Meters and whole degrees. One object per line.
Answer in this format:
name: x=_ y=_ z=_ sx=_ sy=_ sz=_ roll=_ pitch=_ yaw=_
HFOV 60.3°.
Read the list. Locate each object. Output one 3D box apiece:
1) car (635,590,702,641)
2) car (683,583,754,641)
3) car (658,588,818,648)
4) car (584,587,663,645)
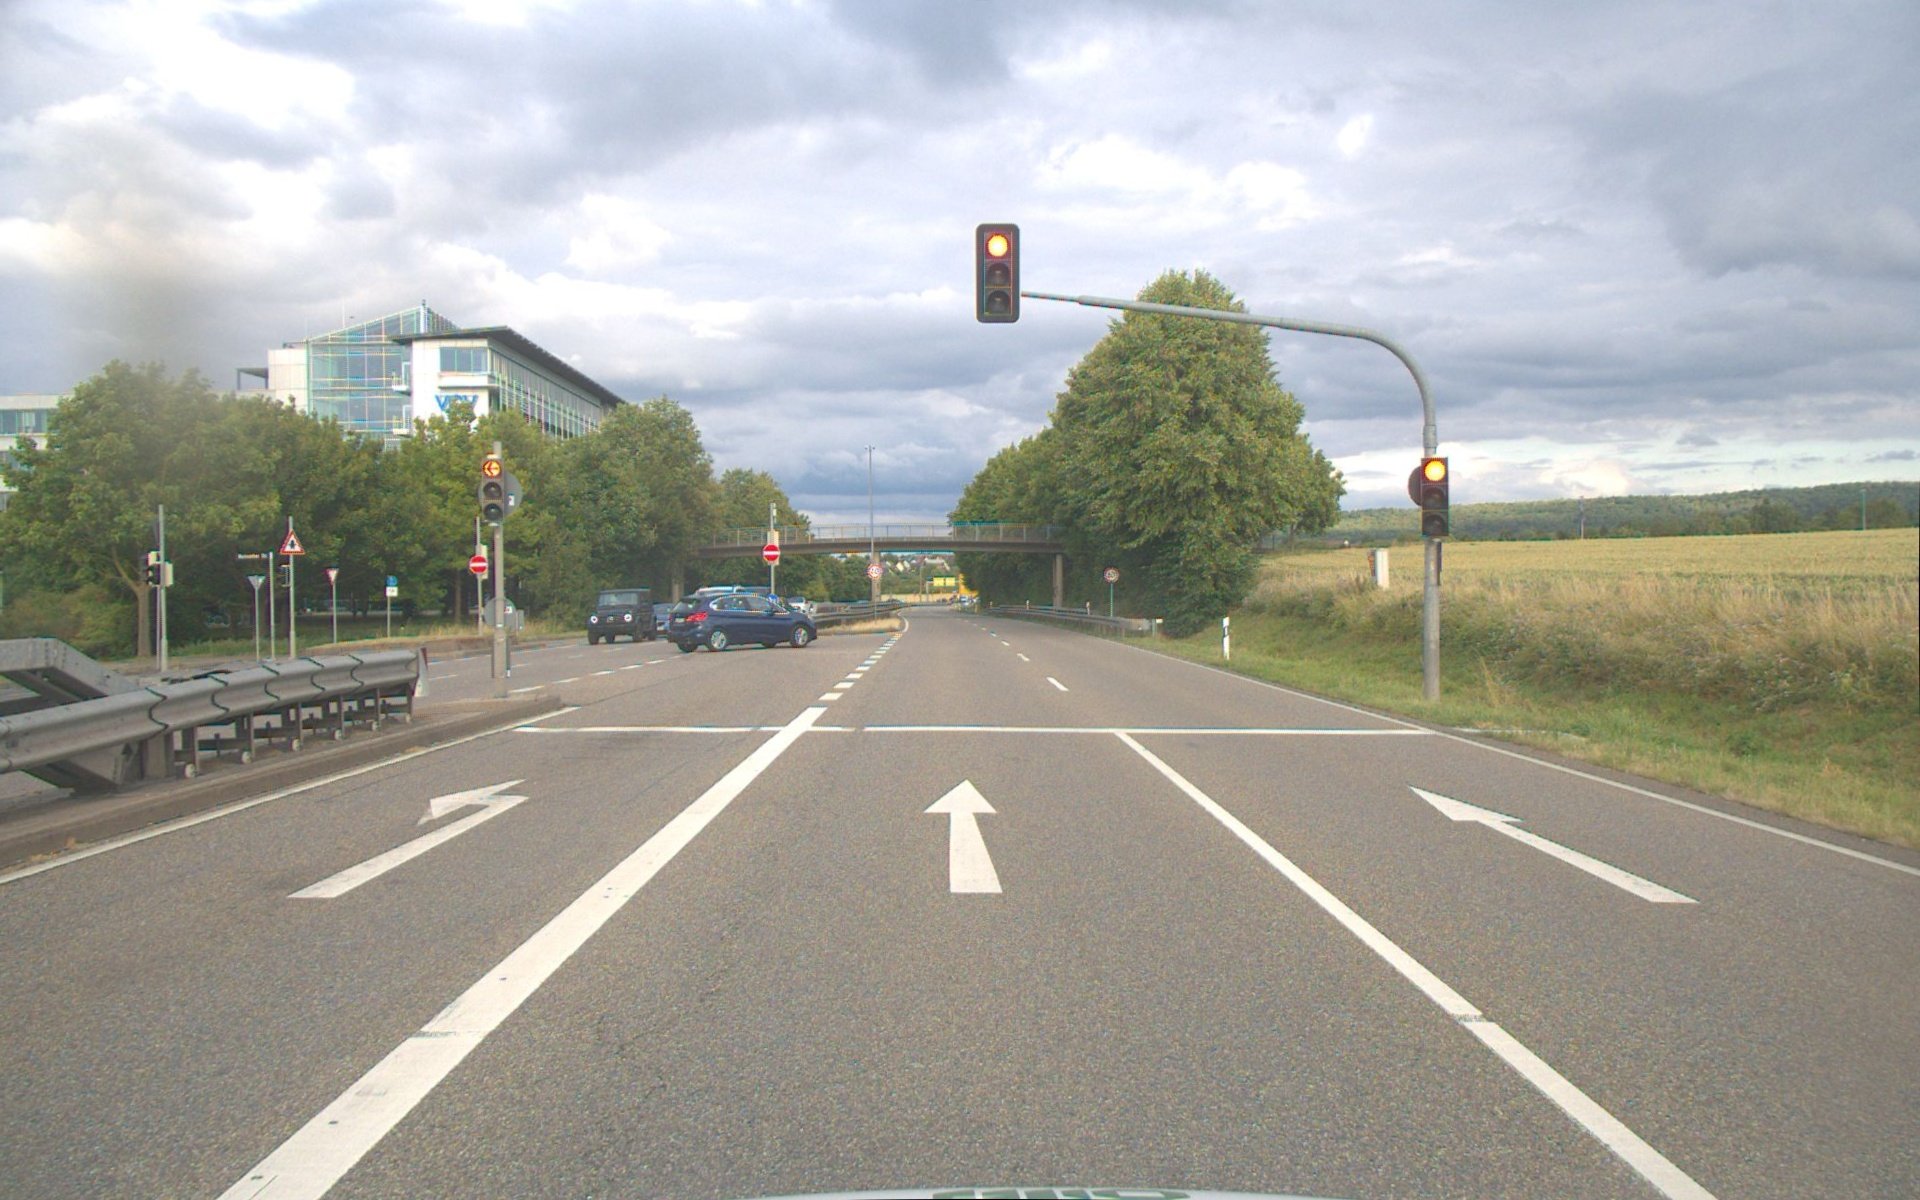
car: x=-12.276 y=0.635 z=69.995 sx=2.041 sy=2.049 sz=5.214 roll=1 pitch=0 yaw=-2
car: x=-9.077 y=0.446 z=62.644 sx=2.041 sy=2.049 sz=5.214 roll=1 pitch=0 yaw=-2
car: x=-6.086 y=0.508 z=45.486 sx=3.954 sy=1.579 sz=1.863 roll=1 pitch=0 yaw=-35
car: x=-12.637 y=0.596 z=62.491 sx=2.041 sy=2.049 sz=5.214 roll=1 pitch=0 yaw=-2
